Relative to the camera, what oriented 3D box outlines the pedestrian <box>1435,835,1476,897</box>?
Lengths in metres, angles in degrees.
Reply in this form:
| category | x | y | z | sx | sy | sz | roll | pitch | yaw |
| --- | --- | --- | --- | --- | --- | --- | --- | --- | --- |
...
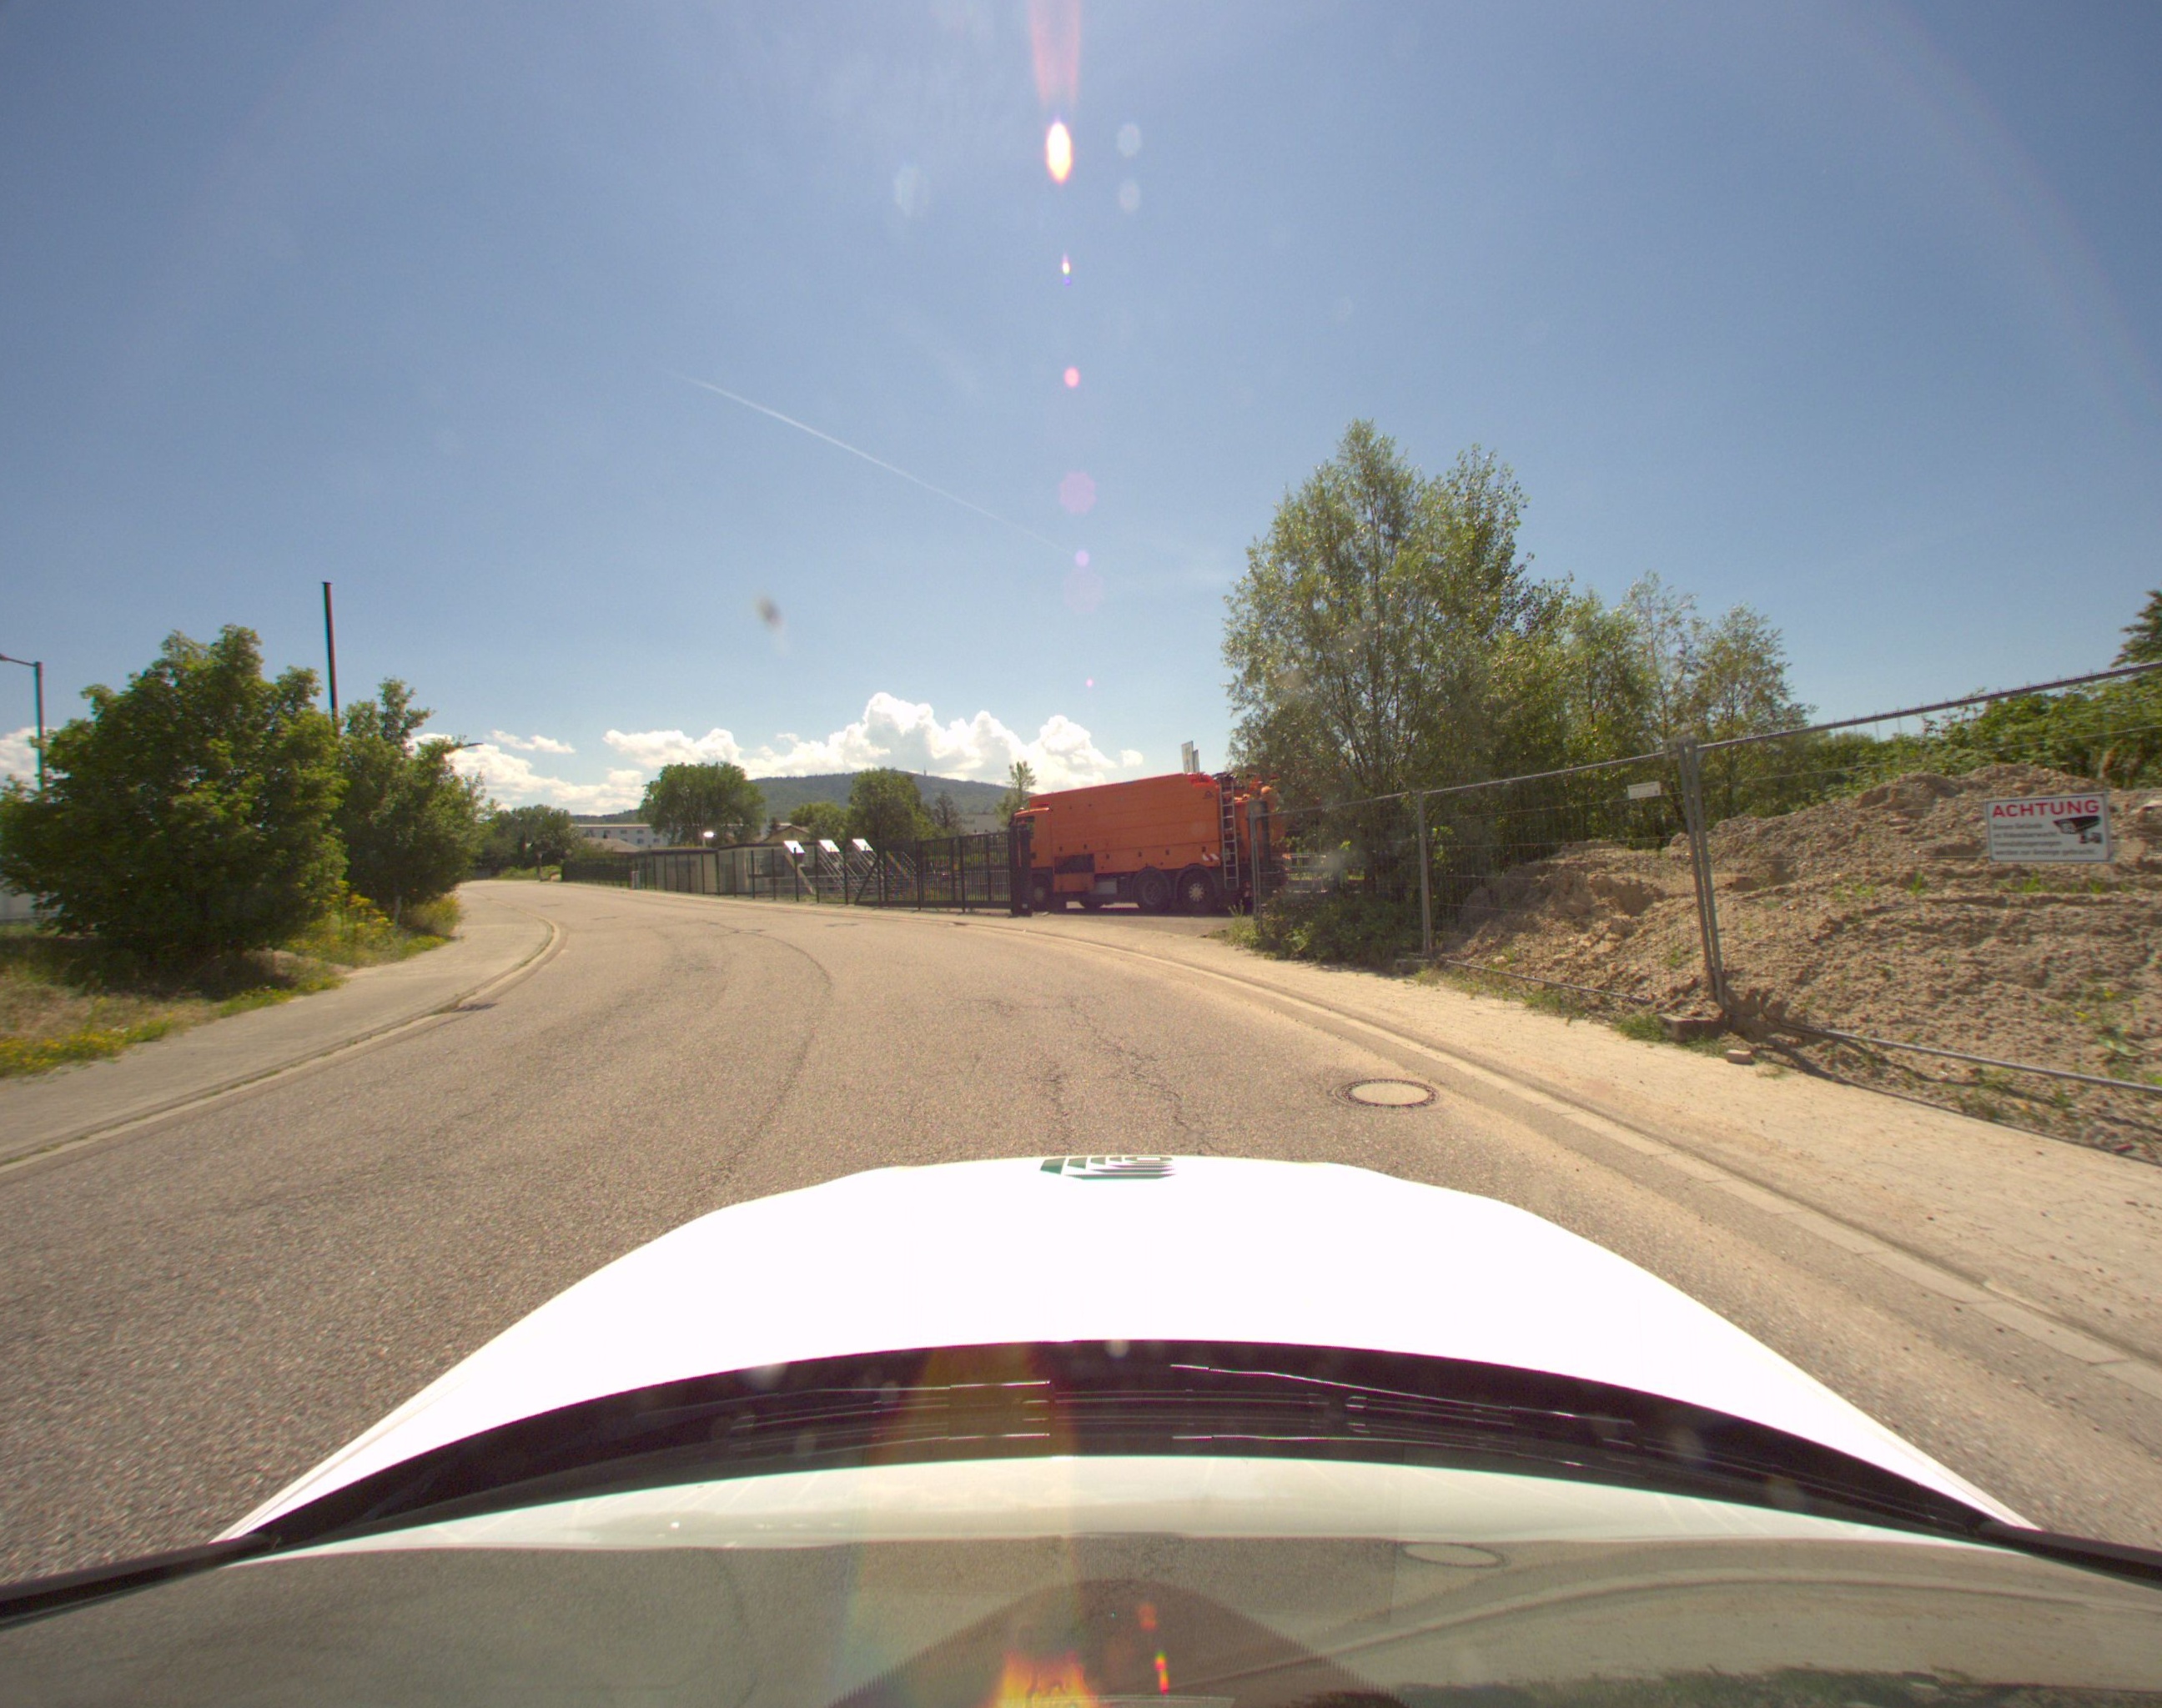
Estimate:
| category | x | y | z | sx | sy | sz | roll | pitch | yaw |
| --- | --- | --- | --- | --- | --- | --- | --- | --- | --- |
| pedestrian | 11.214 | 0.357 | 24.394 | 0.868 | 1.824 | 0.744 | -2 | 0 | 44 |

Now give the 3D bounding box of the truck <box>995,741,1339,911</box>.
| category | x | y | z | sx | sy | sz | roll | pitch | yaw |
| --- | --- | --- | --- | --- | --- | --- | --- | --- | --- |
| truck | 2.113 | -0.508 | 22.638 | 8.501 | 3.806 | 4.191 | -3 | 0 | 42 |
